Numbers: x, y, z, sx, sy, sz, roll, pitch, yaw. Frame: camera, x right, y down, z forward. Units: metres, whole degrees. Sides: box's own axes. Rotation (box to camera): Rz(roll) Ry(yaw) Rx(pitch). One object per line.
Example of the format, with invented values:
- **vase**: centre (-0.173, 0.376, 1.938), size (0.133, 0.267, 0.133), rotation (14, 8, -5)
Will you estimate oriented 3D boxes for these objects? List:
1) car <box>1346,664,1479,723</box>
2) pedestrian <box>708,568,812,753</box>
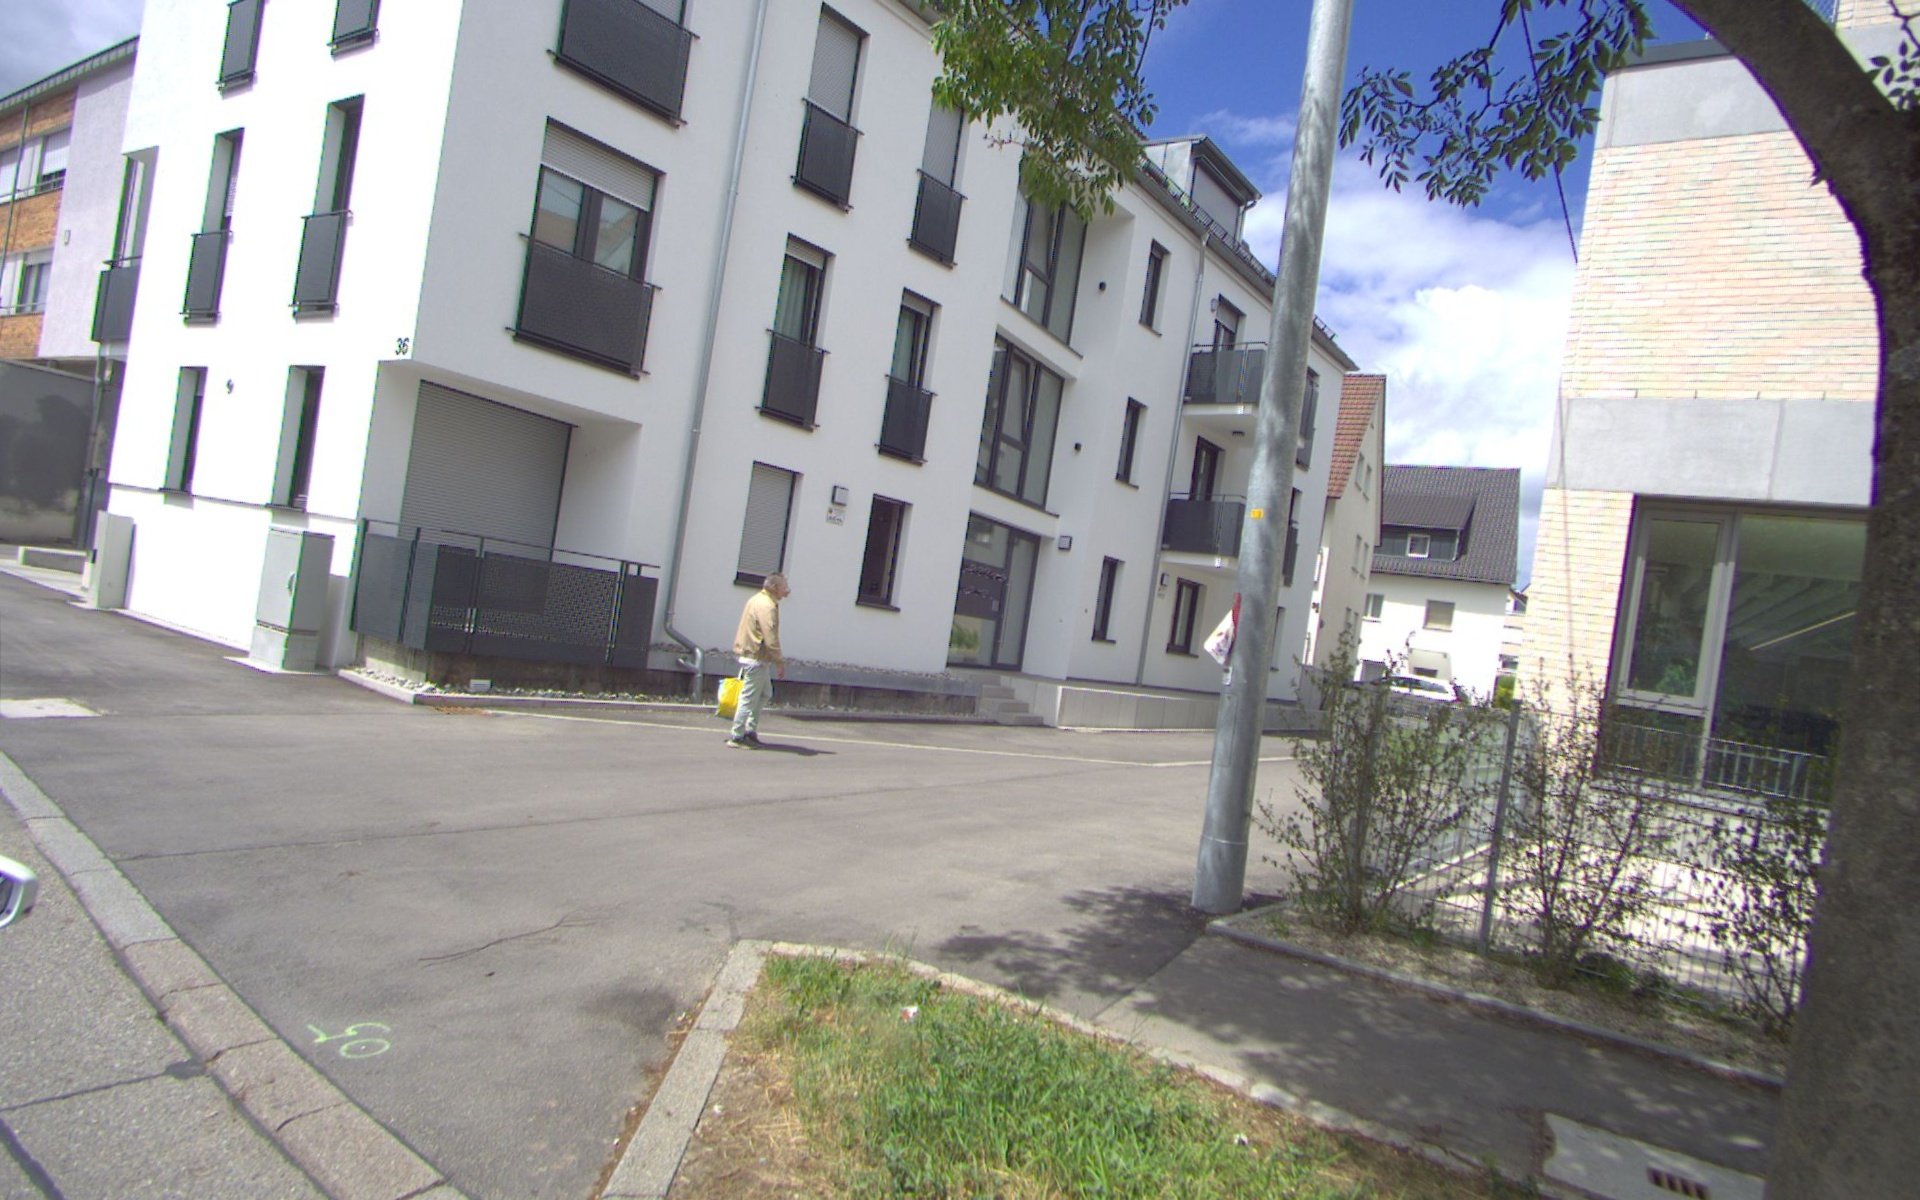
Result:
- **car**: centre (16.320, 3.369, 36.340), size (3.943, 1.503, 1.777), rotation (6, -2, 40)
- **pedestrian**: centre (-1.924, 0.562, 9.617), size (0.609, 1.667, 0.734), rotation (7, 0, -29)
